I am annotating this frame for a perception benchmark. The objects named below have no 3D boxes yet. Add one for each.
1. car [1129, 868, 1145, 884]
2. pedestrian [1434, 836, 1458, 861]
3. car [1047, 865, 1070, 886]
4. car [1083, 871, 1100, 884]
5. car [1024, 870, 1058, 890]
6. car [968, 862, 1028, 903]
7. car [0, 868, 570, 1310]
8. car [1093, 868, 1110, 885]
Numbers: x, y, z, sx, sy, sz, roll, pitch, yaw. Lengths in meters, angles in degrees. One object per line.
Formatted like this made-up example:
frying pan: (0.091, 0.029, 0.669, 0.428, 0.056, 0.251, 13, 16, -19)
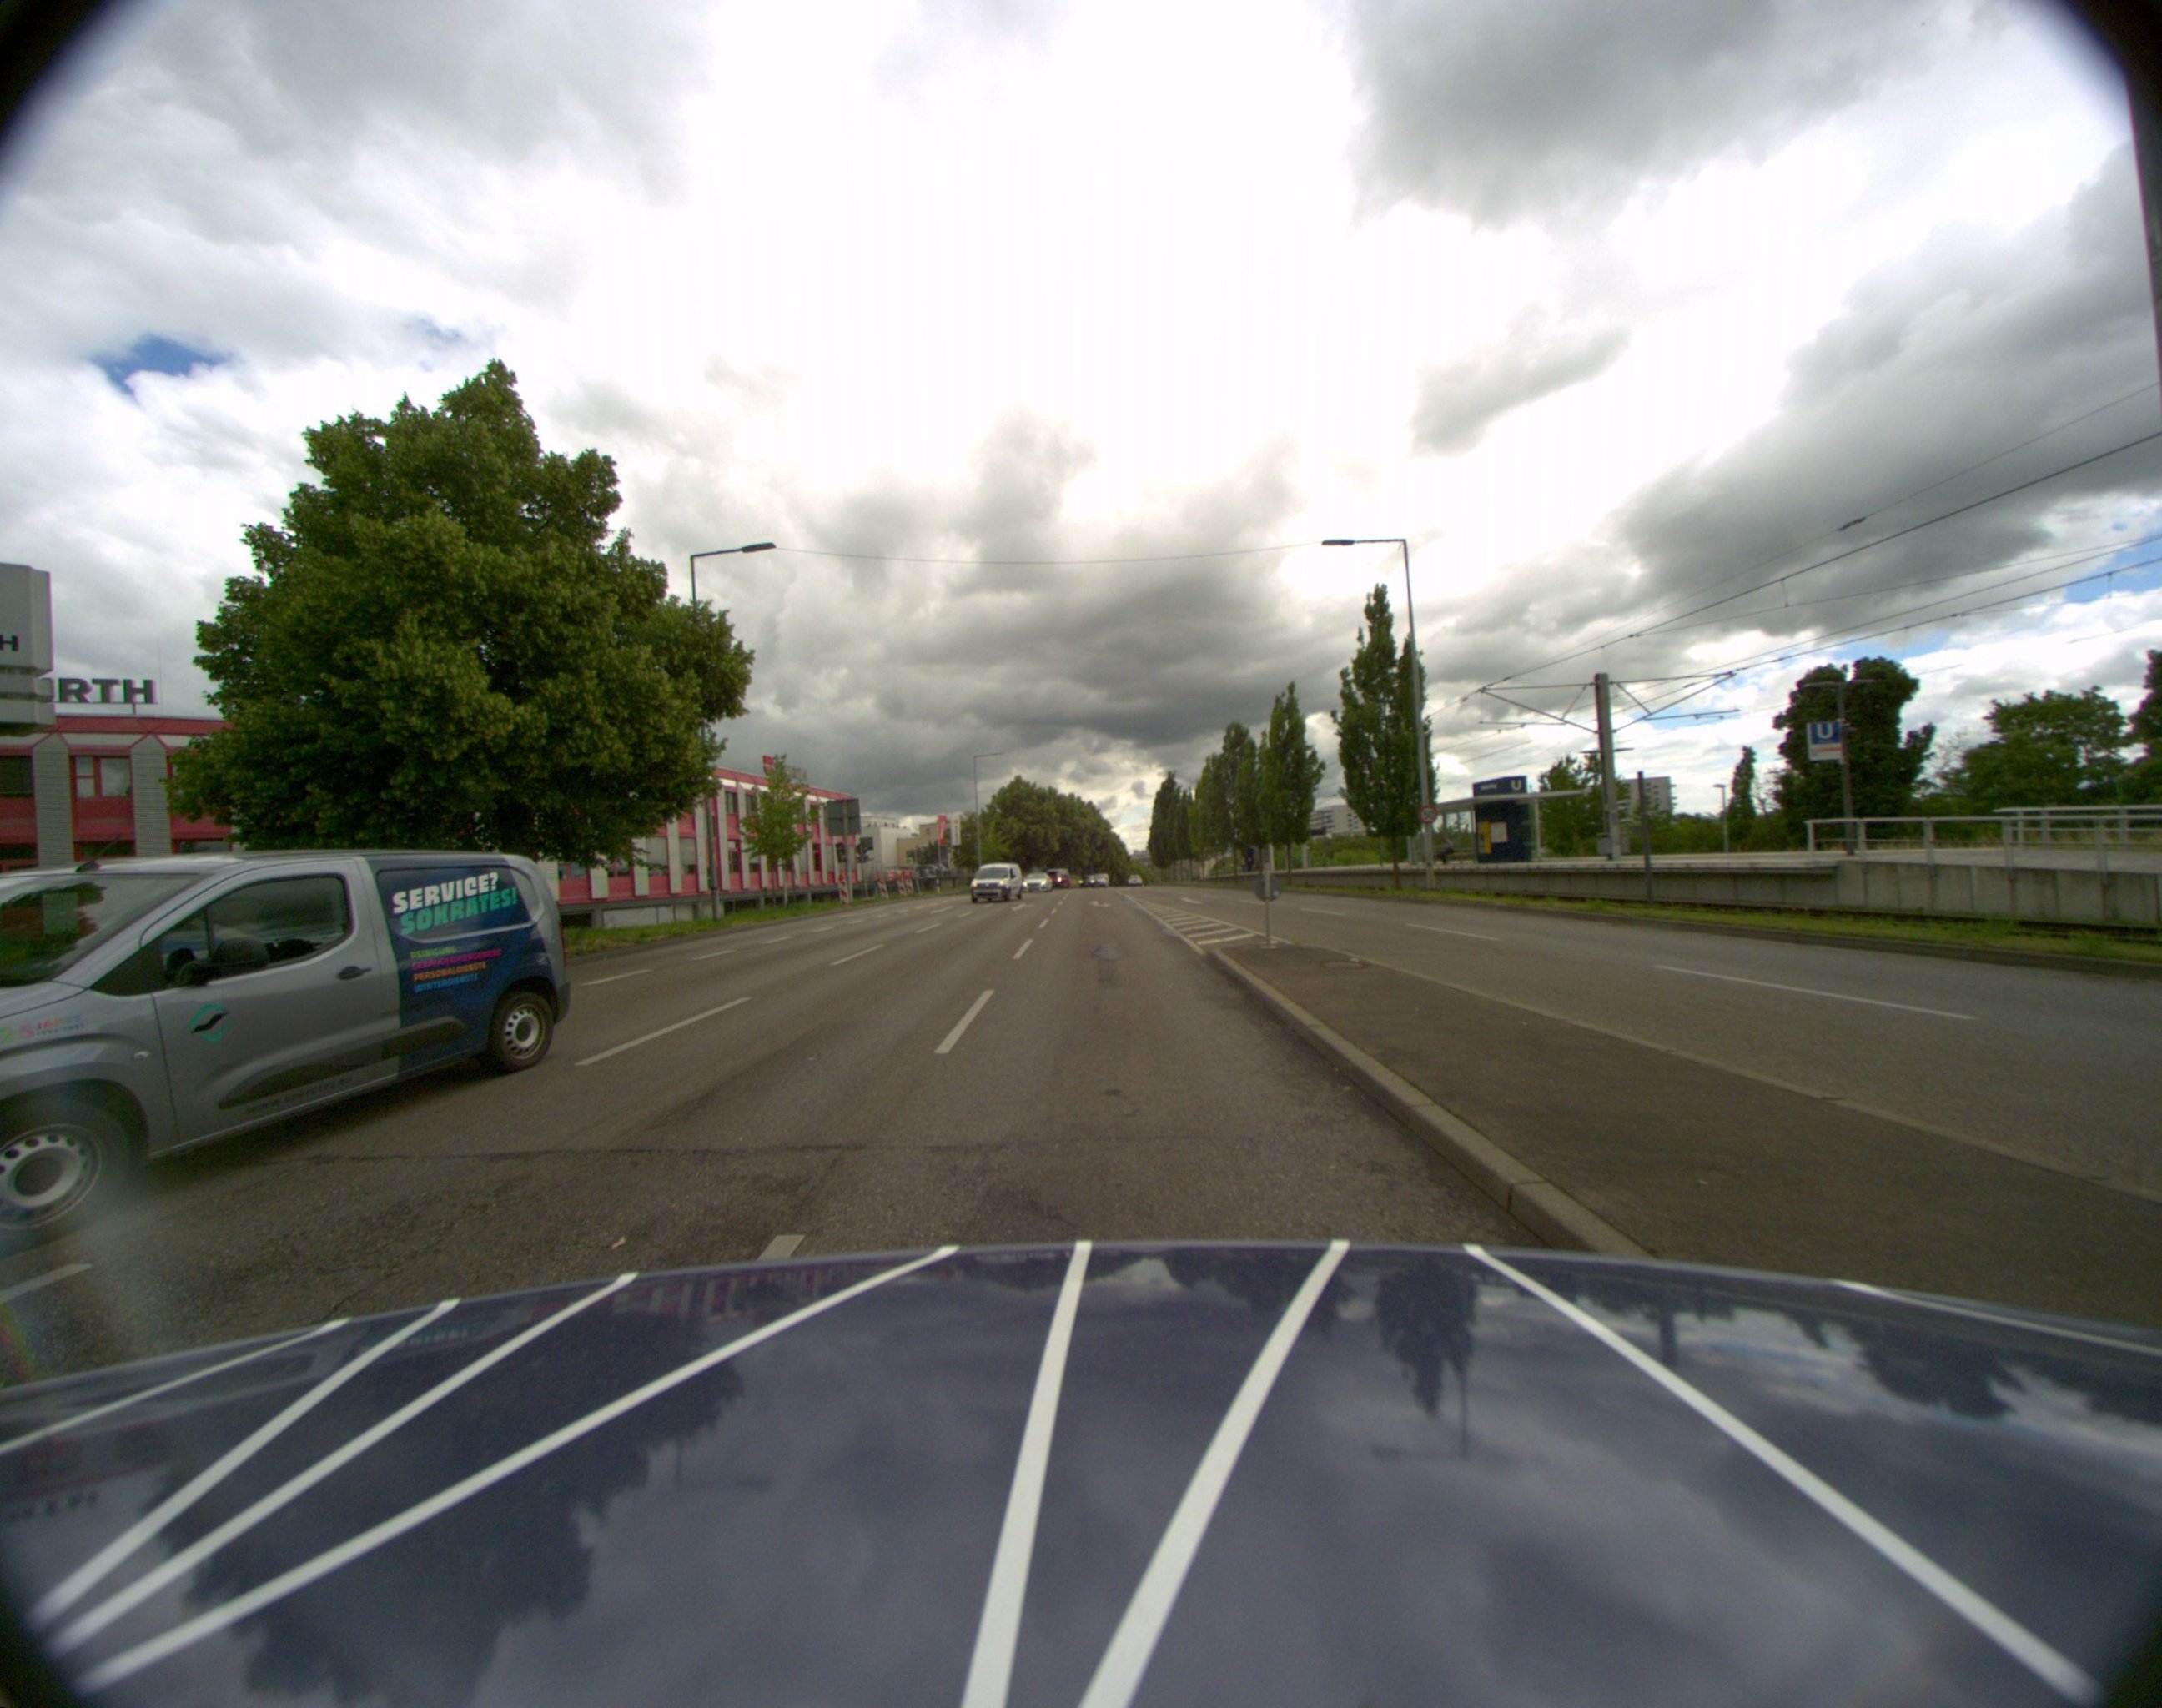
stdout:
car: (7.318, 2.853, 99.676, 1.998, 2.002, 4.000, -2, 0, 3)
pedestrian: (17.728, -0.267, 36.896, 0.751, 1.169, 0.837, -2, 1, 0)
car: (-2.209, 2.163, 75.553, 2.184, 1.893, 4.456, -2, -3, -1)
car: (1.212, 2.774, 88.858, 1.813, 1.332, 4.225, -2, -3, 2)
car: (-2.904, 1.917, 55.729, 1.812, 1.332, 4.226, -2, -3, 6)
car: (-3.881, 1.300, 36.456, 1.812, 1.781, 4.699, -2, -1, 6)
car: (-5.423, 1.045, 4.503, 1.813, 1.769, 4.222, -2, 0, 1)
car: (2.665, 2.902, 98.922, 1.949, 1.895, 5.238, -2, 0, 4)
